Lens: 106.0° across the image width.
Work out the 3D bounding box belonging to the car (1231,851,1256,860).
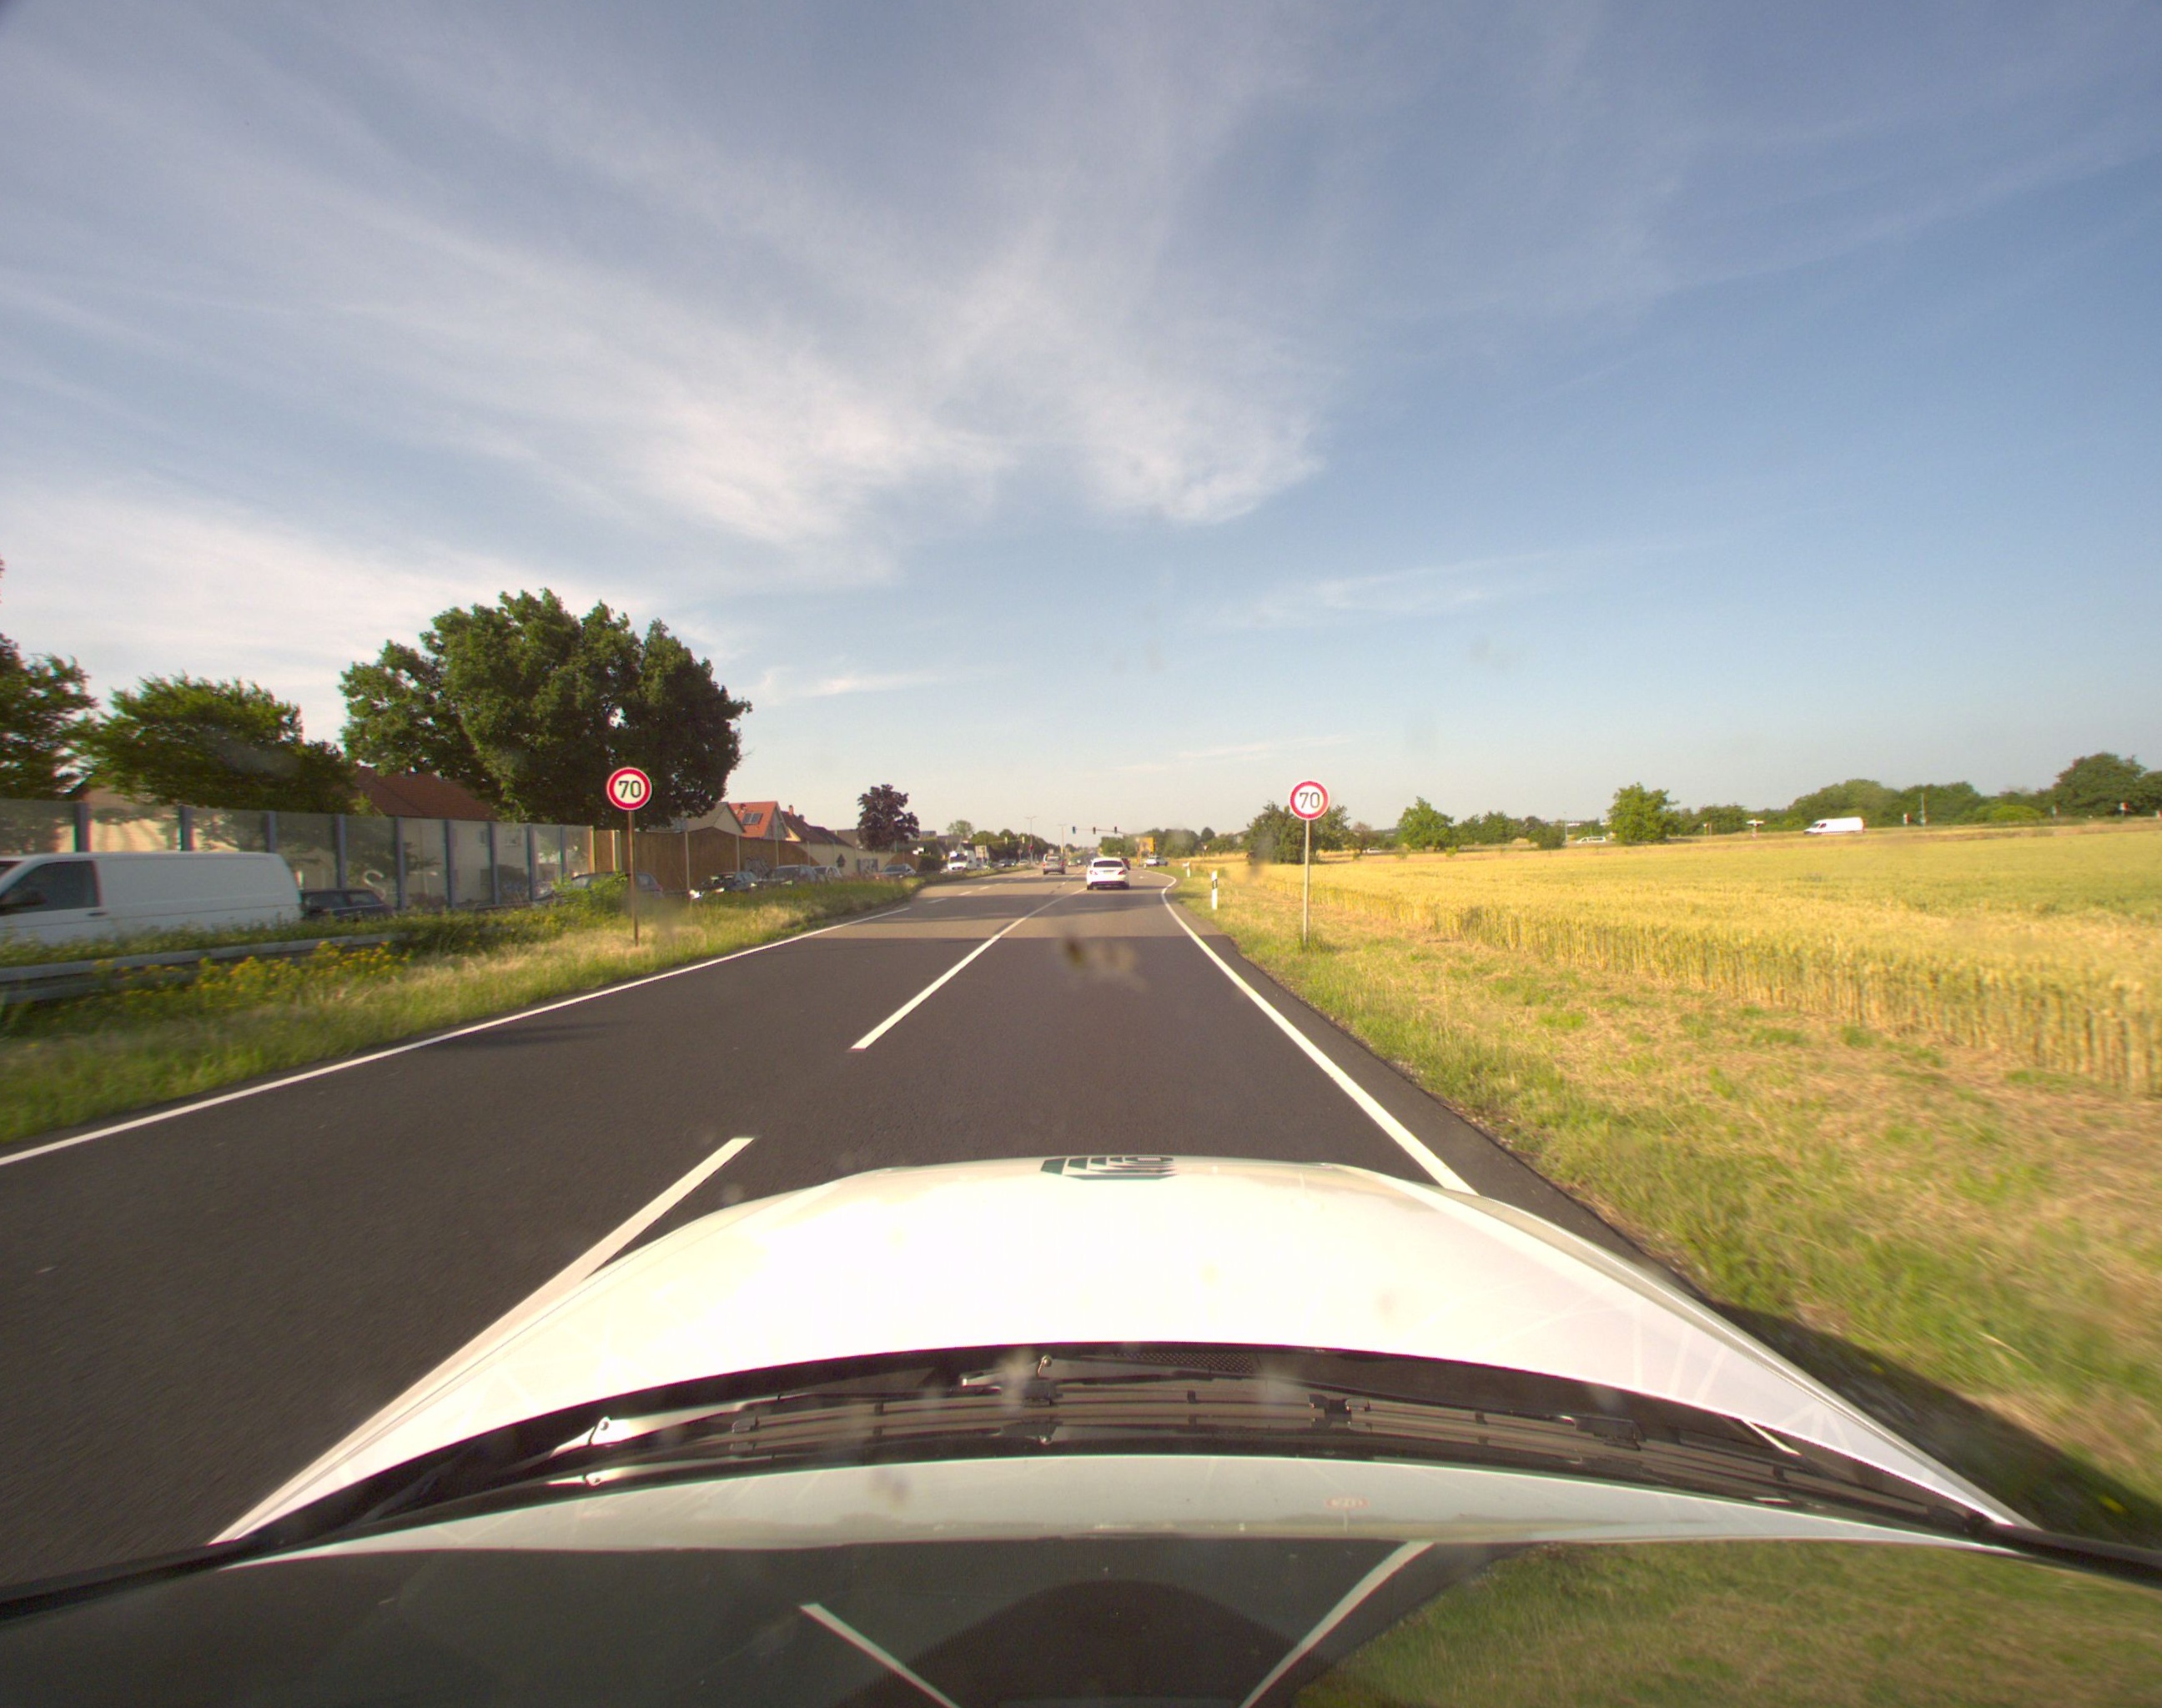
[{"bbox_3d":[26.112,0.304,130.864,3.668,1.420,1.641,0,0,2],"label":"car"}]

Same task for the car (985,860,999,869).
[{"bbox_3d":[-14.365,1.647,131.047,1.704,1.456,4.002,0,0,2],"label":"car"}]

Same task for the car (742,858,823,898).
[{"bbox_3d":[-12.157,0.934,33.493,1.509,1.465,4.659,0,0,1],"label":"car"}]

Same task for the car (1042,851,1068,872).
[{"bbox_3d":[-2.334,0.647,74.093,2.017,1.891,4.961,0,0,2],"label":"car"}]

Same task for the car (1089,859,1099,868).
[{"bbox_3d":[2.529,1.882,163.080,1.835,1.684,3.996,0,0,-3],"label":"car"}]

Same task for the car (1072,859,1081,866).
[{"bbox_3d":[-0.956,1.868,181.452,1.771,1.665,3.660,0,0,-2],"label":"car"}]

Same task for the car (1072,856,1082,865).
[{"bbox_3d":[-0.697,1.120,146.232,1.711,1.492,3.586,0,0,2],"label":"car"}]

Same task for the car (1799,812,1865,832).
[{"bbox_3d":[111.503,-4.739,120.976,6.968,2.795,2.328,-1,0,13],"label":"car"}]

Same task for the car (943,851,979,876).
[{"bbox_3d":[-11.548,0.852,78.949,2.340,2.303,7.191,0,0,1],"label":"car"}]

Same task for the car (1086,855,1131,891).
[{"bbox_3d":[1.229,0.803,36.928,1.888,1.509,4.000,-1,0,1],"label":"car"}]

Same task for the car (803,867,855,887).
[{"bbox_3d":[-15.486,1.397,50.287,1.662,1.105,4.415,0,0,2],"label":"car"}]

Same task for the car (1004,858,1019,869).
[{"bbox_3d":[-10.314,1.452,121.655,1.725,1.625,4.923,0,0,1],"label":"car"}]

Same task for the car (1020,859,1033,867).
[{"bbox_3d":[-9.719,1.519,144.556,1.867,1.321,4.714,0,0,1],"label":"car"}]

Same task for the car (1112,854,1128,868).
[{"bbox_3d":[4.534,0.793,95.196,1.747,1.517,4.002,-2,0,2],"label":"car"}]

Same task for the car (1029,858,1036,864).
[{"bbox_3d":[-13.556,1.925,228.949,1.779,1.437,4.353,0,0,-2],"label":"car"}]

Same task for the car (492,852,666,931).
[{"bbox_3d":[-12.810,0.869,21.142,1.757,1.832,4.369,0,0,1],"label":"car"}]

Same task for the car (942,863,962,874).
[{"bbox_3d":[-14.969,1.692,94.586,1.679,1.286,3.147,0,0,0],"label":"car"}]

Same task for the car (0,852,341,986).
[{"bbox_3d":[-12.906,0.726,10.557,1.974,1.484,5.060,0,0,0],"label":"car"}]

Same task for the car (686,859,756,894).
[{"bbox_3d":[-15.686,0.955,35.633,1.509,1.465,3.236,0,0,2],"label":"car"}]

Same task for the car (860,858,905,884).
[{"bbox_3d":[-11.801,0.977,48.593,1.642,1.442,3.569,0,0,2],"label":"car"}]

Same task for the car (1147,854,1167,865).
[{"bbox_3d":[11.403,0.757,122.262,1.838,1.598,4.022,-1,0,23],"label":"car"}]
